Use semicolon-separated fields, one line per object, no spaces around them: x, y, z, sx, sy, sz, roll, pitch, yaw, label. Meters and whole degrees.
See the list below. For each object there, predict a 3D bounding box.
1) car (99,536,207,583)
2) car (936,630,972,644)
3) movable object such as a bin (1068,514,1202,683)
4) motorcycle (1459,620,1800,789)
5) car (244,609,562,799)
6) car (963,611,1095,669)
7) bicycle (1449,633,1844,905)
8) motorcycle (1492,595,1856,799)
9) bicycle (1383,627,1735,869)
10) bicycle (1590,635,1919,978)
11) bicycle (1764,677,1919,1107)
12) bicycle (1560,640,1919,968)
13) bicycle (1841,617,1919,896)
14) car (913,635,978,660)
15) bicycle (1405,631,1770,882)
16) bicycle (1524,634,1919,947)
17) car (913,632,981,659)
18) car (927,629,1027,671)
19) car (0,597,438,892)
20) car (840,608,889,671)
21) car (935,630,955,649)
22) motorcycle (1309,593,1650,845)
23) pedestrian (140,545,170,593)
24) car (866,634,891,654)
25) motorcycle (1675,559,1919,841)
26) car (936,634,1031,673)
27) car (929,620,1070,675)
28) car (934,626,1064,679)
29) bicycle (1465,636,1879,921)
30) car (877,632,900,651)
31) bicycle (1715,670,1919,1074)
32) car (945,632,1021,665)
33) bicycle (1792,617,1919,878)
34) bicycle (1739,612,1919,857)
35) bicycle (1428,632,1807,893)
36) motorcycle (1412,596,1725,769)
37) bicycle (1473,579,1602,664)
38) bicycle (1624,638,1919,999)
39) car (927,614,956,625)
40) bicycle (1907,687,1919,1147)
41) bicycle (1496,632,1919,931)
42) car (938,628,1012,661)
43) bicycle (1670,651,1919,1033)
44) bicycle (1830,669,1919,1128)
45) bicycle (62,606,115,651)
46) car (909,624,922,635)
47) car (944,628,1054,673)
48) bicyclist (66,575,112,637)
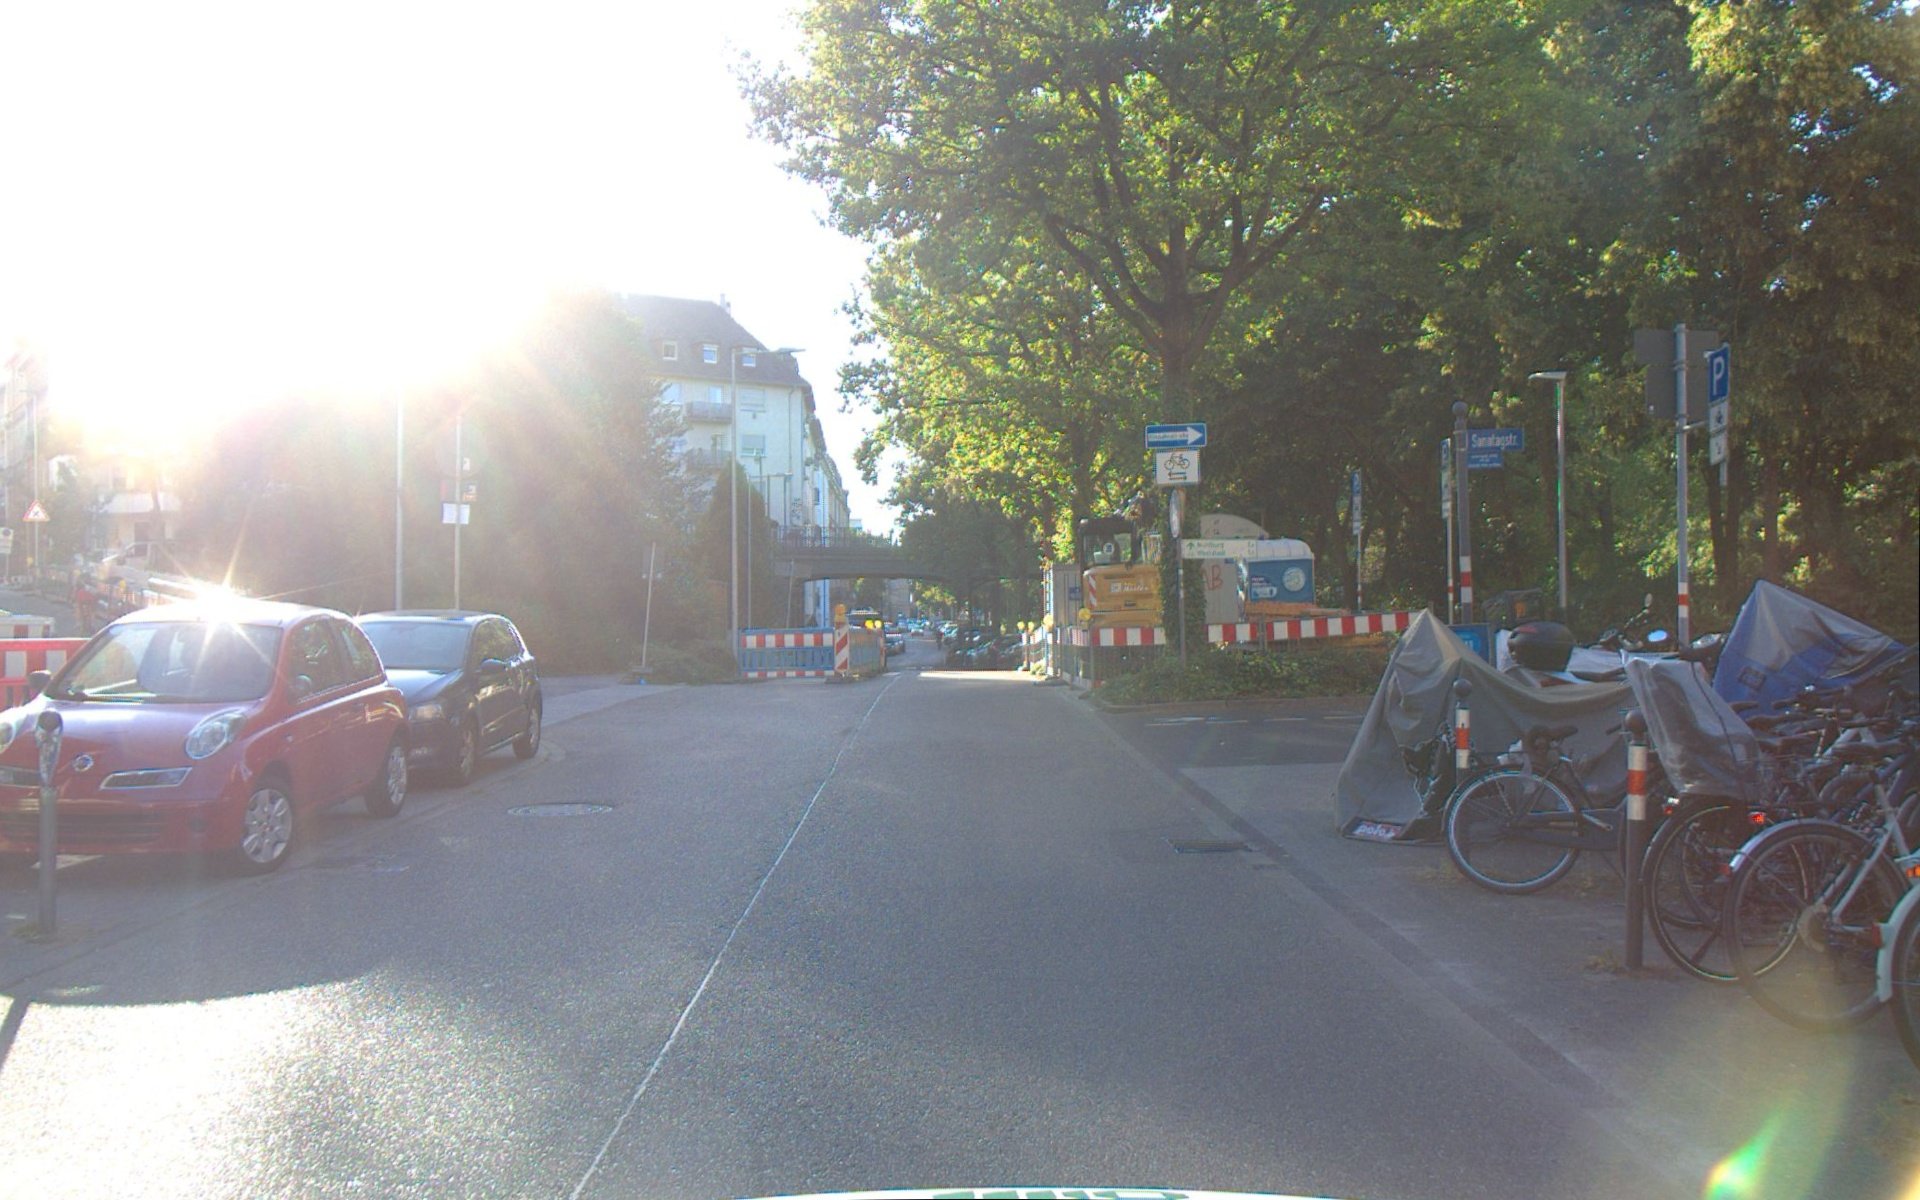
-37.087;-1.831;76.131;4.310;2.049;1.921;0;0;-23;car
-0.728;4.448;199.221;4.298;1.638;1.780;1;-3;-1;car
3.073;-0.013;28.547;1.951;2.747;3.113;-1;0;12;movable object such as a bin
4.989;0.762;12.507;2.234;1.200;0.972;-1;-1;12;motorcycle
-4.941;0.840;15.248;1.635;1.483;3.999;0;0;-1;car
2.520;1.482;60.883;4.648;2.032;1.914;1;-3;-5;car
3.379;0.813;8.150;1.887;1.268;0.302;0;0;-7;bicycle
4.935;0.661;11.577;2.234;1.365;0.657;-1;-1;11;motorcycle
3.304;0.797;9.130;1.887;1.268;0.302;0;0;-7;bicycle
3.443;0.780;6.483;1.887;1.268;0.302;0;0;-7;bicycle
3.514;0.878;5.222;1.887;1.268;0.302;0;0;-7;bicycle
3.427;0.810;6.797;1.869;1.268;0.302;0;0;-7;bicycle
5.256;0.711;7.922;1.887;1.268;0.479;0;0;-7;bicycle
-0.986;3.231;112.246;4.300;1.638;1.779;1;-3;-3;car
3.339;0.815;8.808;1.887;1.268;0.302;0;0;-7;bicycle
3.400;0.796;7.125;1.887;1.268;0.302;0;0;-7;bicycle
-0.849;2.912;106.137;4.300;1.638;1.779;1;-3;-3;car
0.722;2.203;72.576;4.300;1.732;1.915;1;-3;-3;car
-4.774;0.771;10.798;1.636;1.557;3.998;0;0;-3;car
-4.073;1.732;70.760;2.006;2.541;5.692;1;-3;-3;car
-1.305;3.493;147.016;1.739;1.638;4.400;0;-2;-1;car
3.233;0.685;10.303;1.894;1.437;0.940;-1;0;27;motorcycle
-30.934;-1.178;63.569;0.851;1.793;1.078;0;0;-38;pedestrian
-6.263;3.405;127.712;1.776;1.422;3.973;-2;-2;-2;car
5.463;0.551;9.707;2.239;1.558;0.755;-1;-1;-7;motorcycle
1.090;2.500;77.118;4.300;1.732;1.915;1;-3;-3;car
1.214;1.520;52.367;4.301;1.634;1.914;1;-3;-5;car
1.304;1.800;56.303;4.300;1.732;1.915;1;-3;-3;car
3.347;0.817;7.788;1.887;1.268;0.302;0;0;-7;bicycle
-5.744;3.328;132.780;1.776;1.422;3.973;-2;-2;-2;car
3.506;0.871;5.544;1.887;1.268;0.302;0;0;-7;bicycle
1.301;2.814;96.045;4.300;1.816;1.915;1;-3;-3;car
5.297;0.724;8.479;1.887;1.268;0.479;0;0;-7;bicycle
5.255;0.702;8.993;1.887;1.268;0.452;0;0;-7;bicycle
3.371;0.812;8.488;1.887;1.268;0.302;0;0;-7;bicycle
5.097;0.659;13.920;2.322;1.365;0.938;0;-1;-11;motorcycle
9.465;0.334;27.222;1.006;1.308;2.140;-2;0;-13;bicycle
3.454;0.782;6.177;1.887;1.268;0.302;0;0;-7;bicycle
-2.817;2.957;251.187;4.298;1.638;1.780;1;-3;-1;car
3.593;0.868;4.564;1.887;1.268;0.302;0;0;-7;bicycle
3.382;0.794;7.446;1.887;1.268;0.302;0;0;-7;bicycle
0.862;2.638;98.082;4.300;1.894;1.915;1;-3;-3;car
3.492;0.822;5.865;1.887;1.268;0.302;0;0;-7;bicycle
3.555;0.837;4.899;1.887;1.268;0.302;0;0;-7;bicycle
-19.992;0.639;37.932;0.797;0.985;2.081;0;0;-36;bicycle
-6.461;4.256;240.612;1.776;1.422;3.973;-2;-2;-2;car
1.534;2.028;66.297;4.300;1.732;1.915;1;-3;-3;car
-19.966;0.138;37.917;0.797;1.407;0.973;0;0;-36;bicyclist
